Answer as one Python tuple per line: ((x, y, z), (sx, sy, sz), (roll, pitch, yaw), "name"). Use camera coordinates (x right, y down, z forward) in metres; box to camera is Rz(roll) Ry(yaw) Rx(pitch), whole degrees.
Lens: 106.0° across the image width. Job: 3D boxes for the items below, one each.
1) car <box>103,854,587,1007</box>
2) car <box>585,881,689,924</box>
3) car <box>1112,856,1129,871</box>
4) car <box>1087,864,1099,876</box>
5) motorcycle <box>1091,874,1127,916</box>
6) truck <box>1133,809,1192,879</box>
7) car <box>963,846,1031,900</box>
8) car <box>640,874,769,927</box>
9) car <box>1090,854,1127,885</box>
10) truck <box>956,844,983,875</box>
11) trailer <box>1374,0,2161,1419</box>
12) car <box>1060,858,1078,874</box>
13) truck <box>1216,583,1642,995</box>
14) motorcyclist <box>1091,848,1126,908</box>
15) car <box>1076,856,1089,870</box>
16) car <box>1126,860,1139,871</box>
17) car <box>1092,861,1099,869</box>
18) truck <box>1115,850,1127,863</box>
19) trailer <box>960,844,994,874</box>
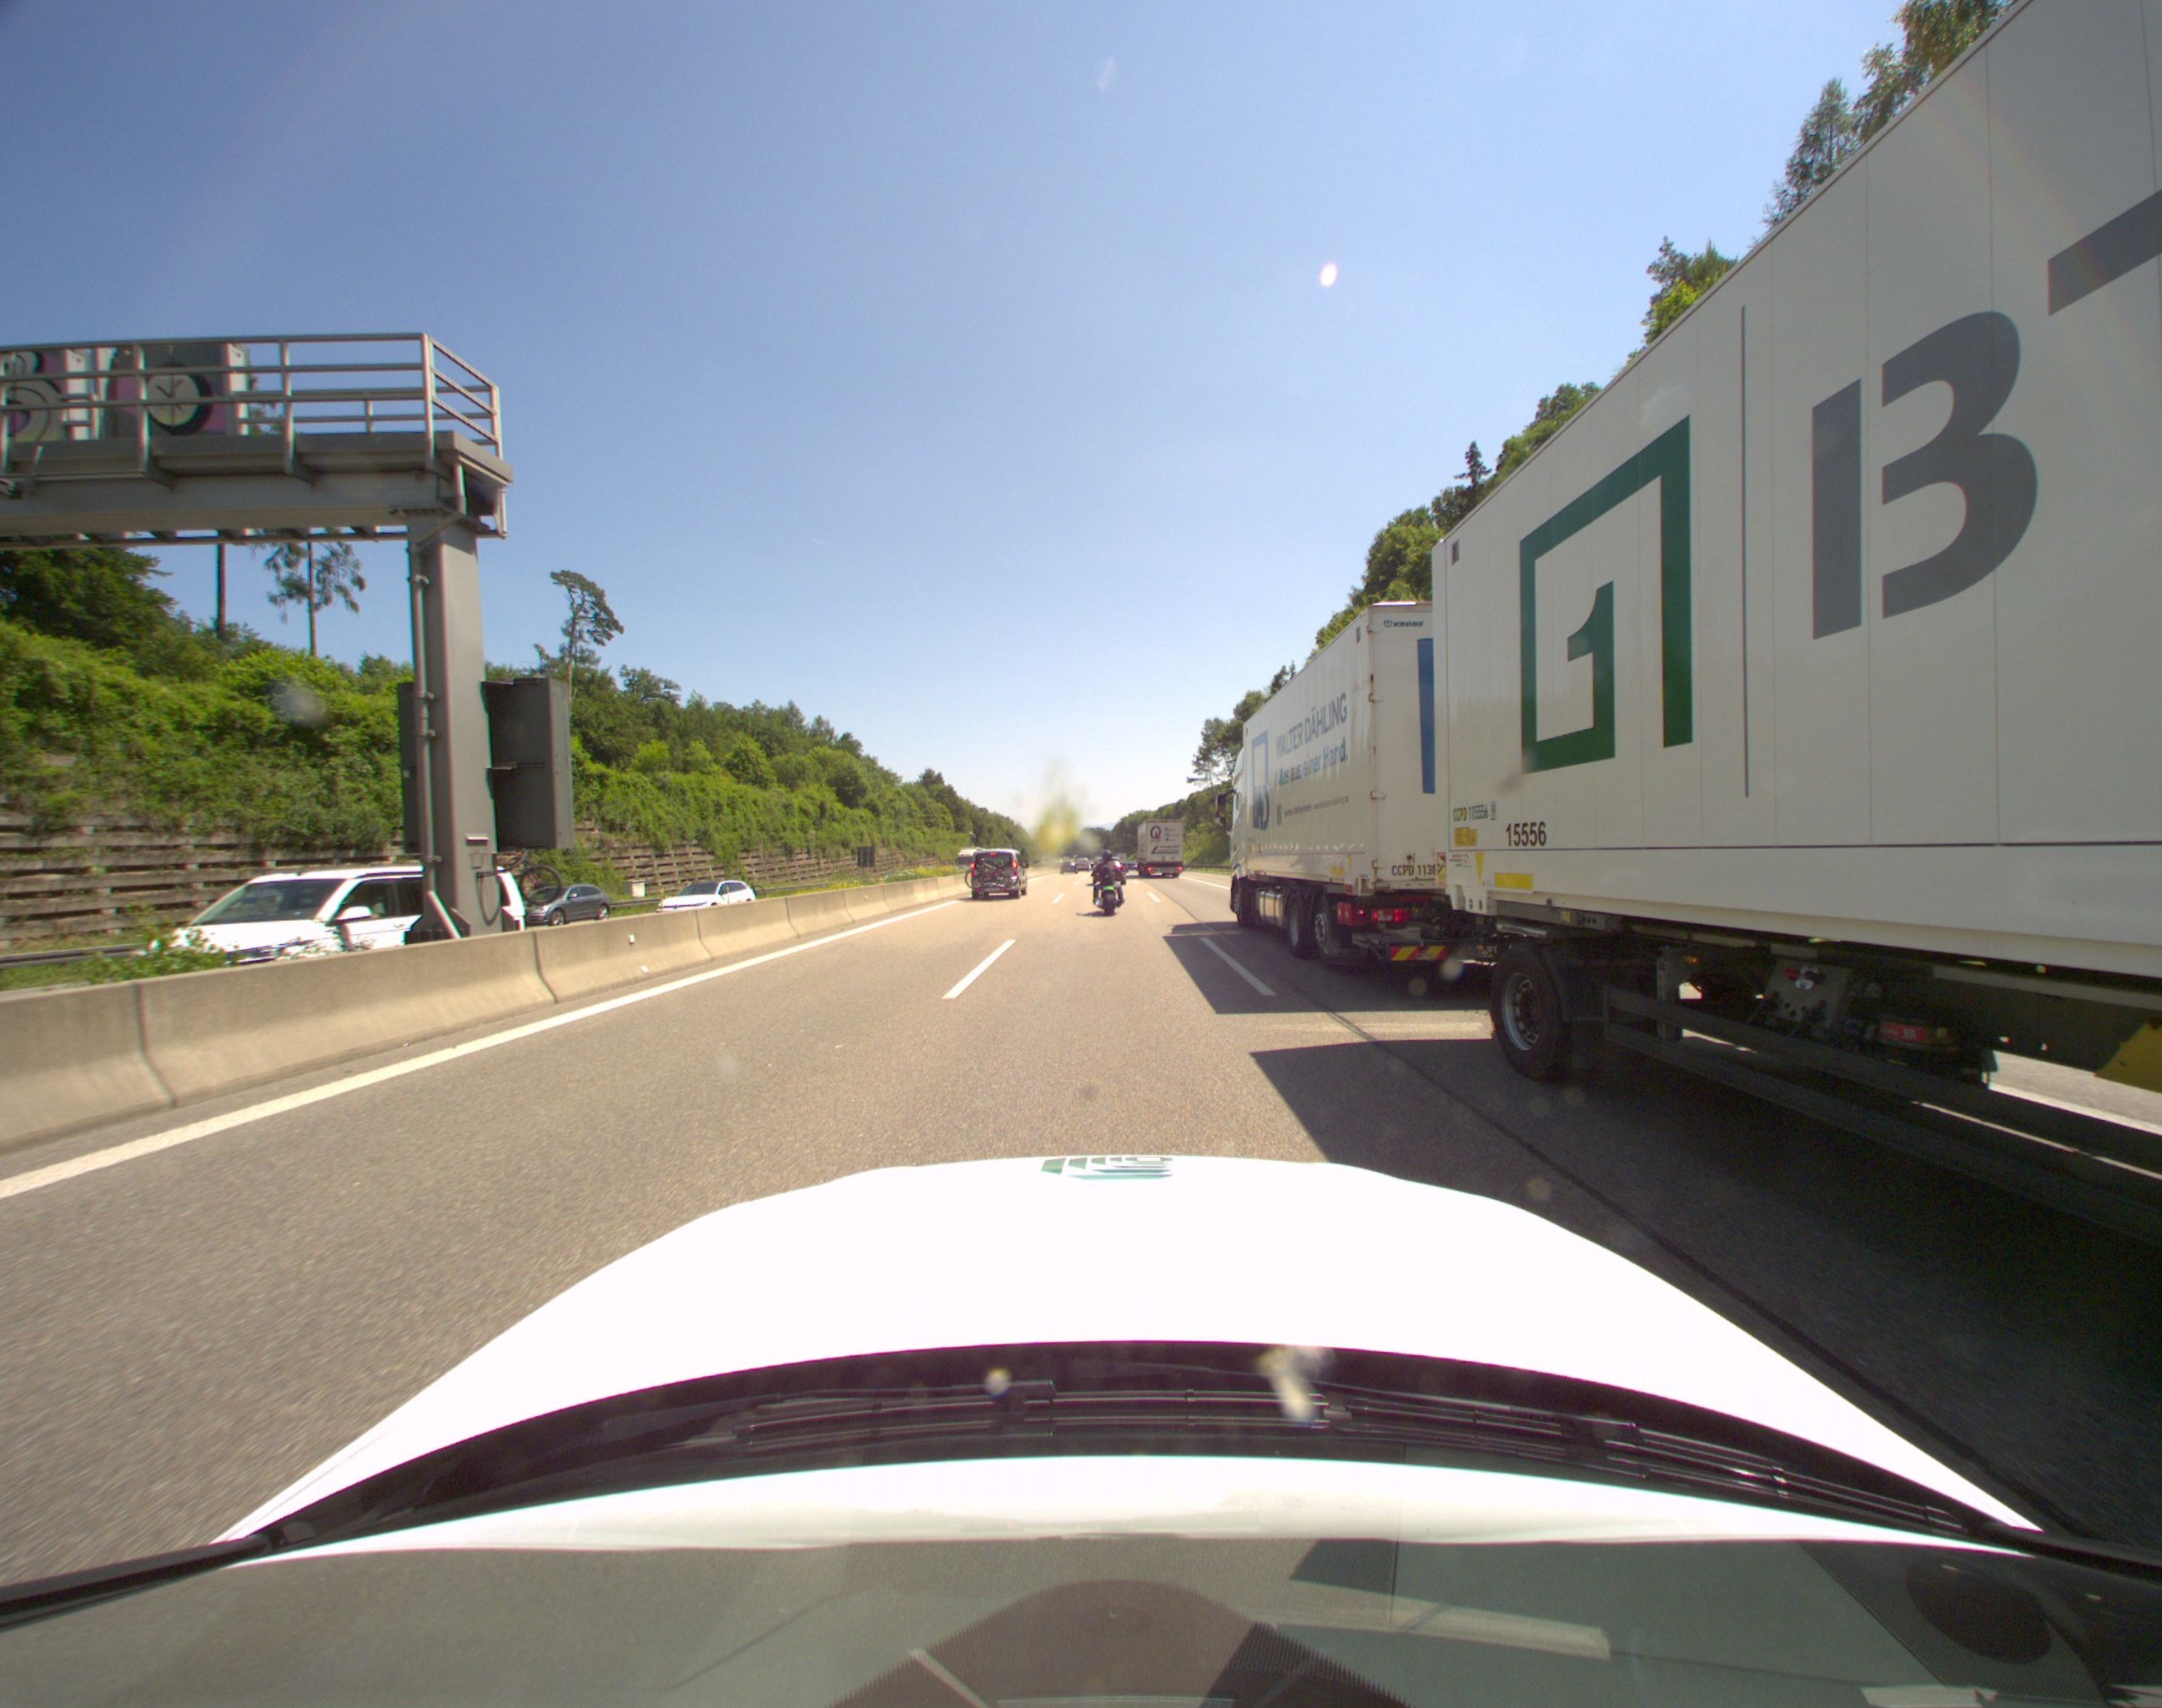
((-10.602, 0.913, 12.724), (1.990, 1.687, 5.996), (-3, 0, 1), "car")
((-19.354, 2.092, 35.778), (1.891, 1.495, 4.480), (-3, 0, 2), "car")
((4.589, 1.072, 94.480), (1.824, 1.558, 4.121), (-1, 0, 1), "car")
((2.041, 2.635, 136.574), (1.824, 1.810, 4.121), (-1, 0, 1), "car")
((0.744, 1.034, 21.080), (0.859, 0.982, 2.132), (-1, -1, 3), "motorcycle")
((6.063, -0.694, 63.749), (3.370, 4.718, 17.715), (0, 0, 2), "truck")
((-3.082, 0.673, 31.009), (1.891, 1.848, 5.484), (-1, 0, 1), "car")
((-13.873, 1.646, 30.505), (1.954, 1.495, 5.887), (-3, 0, 1), "car")
((1.468, 0.792, 44.023), (1.839, 1.557, 4.441), (-1, 0, 1), "car")
((-14.913, 0.678, 109.315), (2.670, 4.030, 5.933), (-2, 0, 1), "truck")
((4.078, -0.669, 2.877), (2.670, 4.175, 10.068), (-1, 0, 1), "trailer")
((-1.281, 1.285, 88.185), (1.751, 1.543, 4.396), (-1, 0, 1), "car")
((4.324, -0.655, 13.385), (2.670, 4.059, 10.628), (-1, 0, 1), "truck")
((0.723, 0.607, 20.991), (0.852, 1.515, 0.914), (-1, -1, 2), "motorcyclist")
((0.232, 1.280, 115.777), (1.824, 1.810, 4.121), (-1, 0, 1), "car")
((7.522, 1.707, 119.222), (1.824, 1.526, 4.028), (-1, 0, 1), "car")
((3.438, 2.569, 192.202), (1.824, 1.810, 4.121), (-1, 0, 1), "car")
((10.634, 0.695, 216.098), (3.056, 3.346, 9.655), (0, 0, 2), "truck")
((-14.701, 0.656, 116.519), (2.670, 4.015, 14.192), (-2, 0, 1), "trailer")
